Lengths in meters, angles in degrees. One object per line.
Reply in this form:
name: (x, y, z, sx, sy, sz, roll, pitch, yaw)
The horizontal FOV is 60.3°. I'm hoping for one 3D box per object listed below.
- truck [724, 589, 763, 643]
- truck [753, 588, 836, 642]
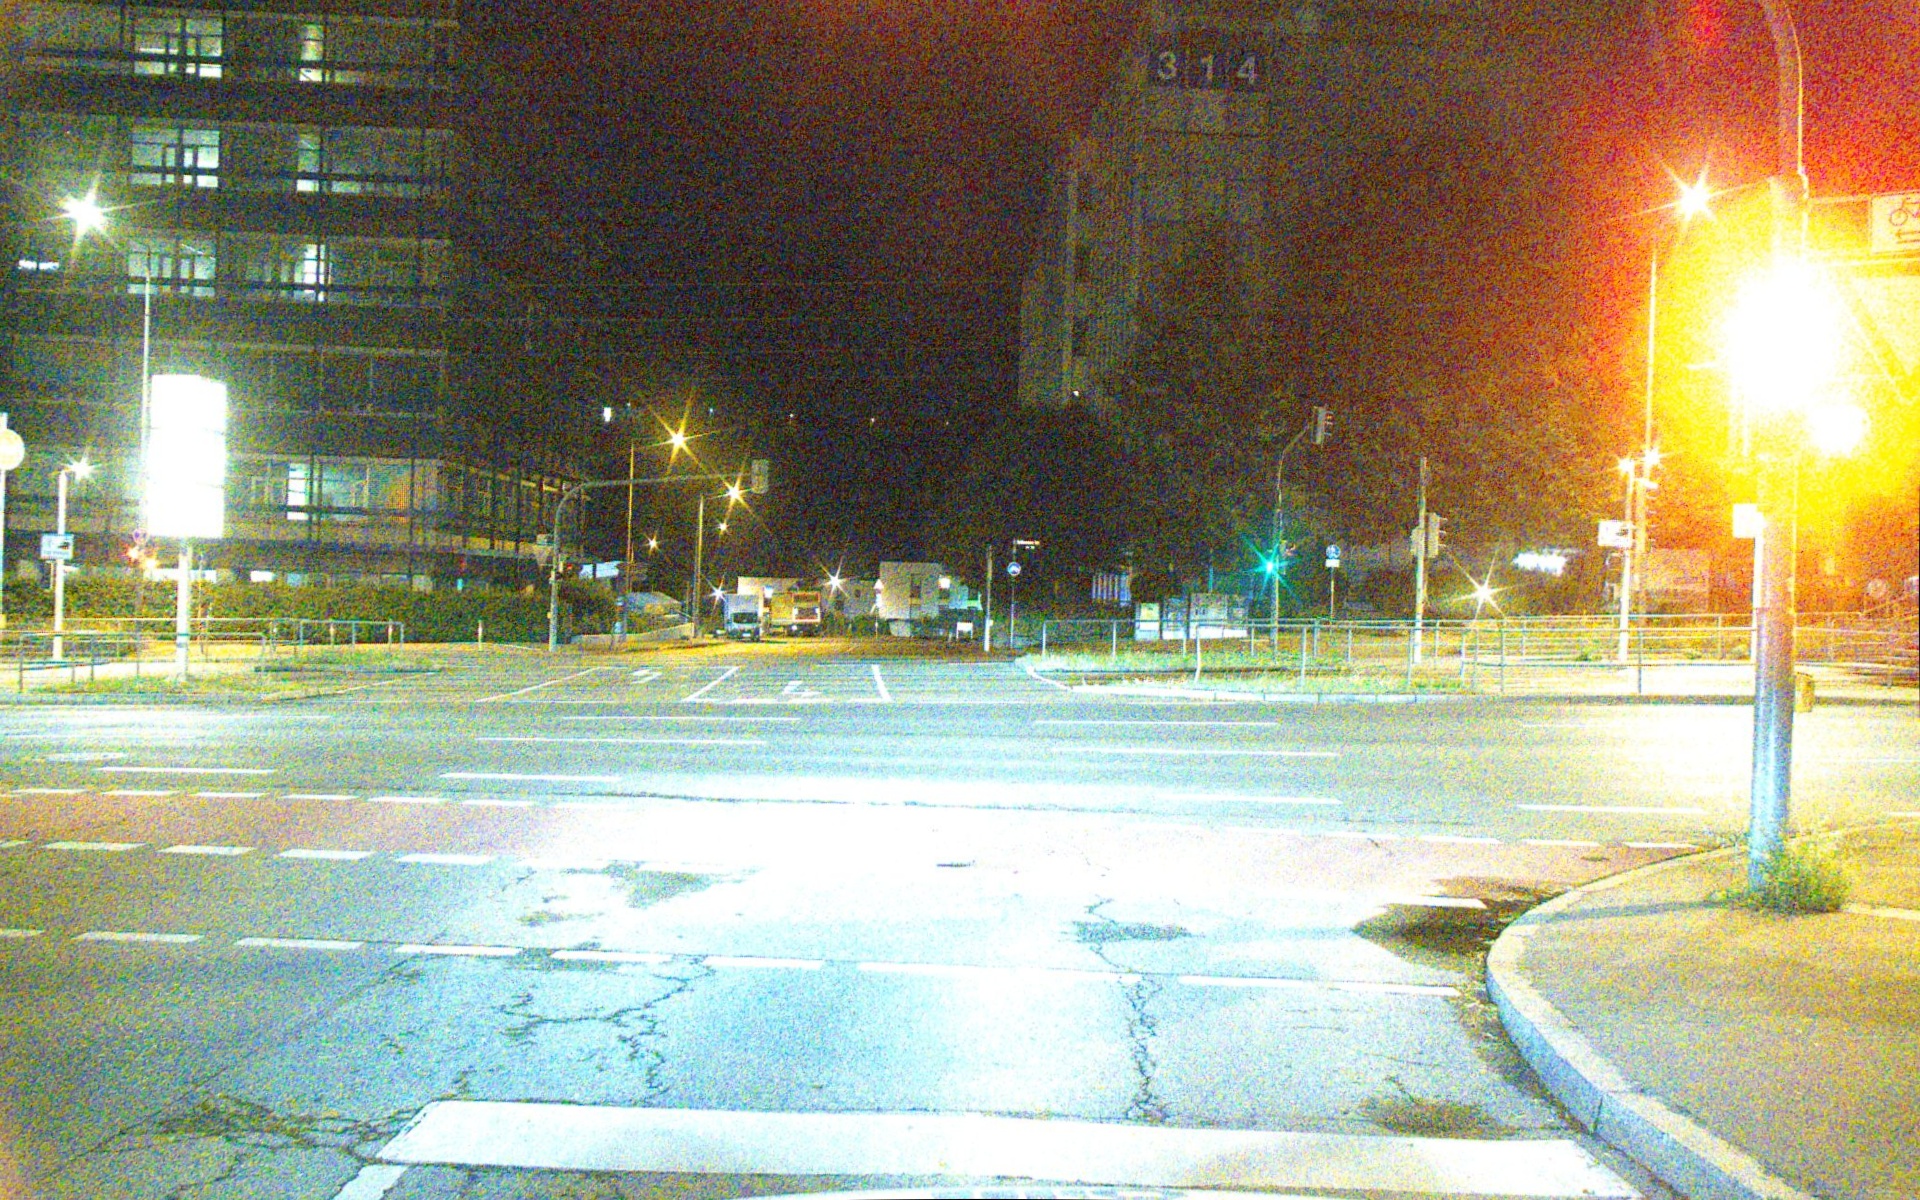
truck: (-15.610, 1.150, 118.999, 2.535, 3.772, 5.724, 1, 0, -9)
truck: (-15.228, 1.315, 150.876, 4.751, 4.627, 12.593, 1, 0, -19)
